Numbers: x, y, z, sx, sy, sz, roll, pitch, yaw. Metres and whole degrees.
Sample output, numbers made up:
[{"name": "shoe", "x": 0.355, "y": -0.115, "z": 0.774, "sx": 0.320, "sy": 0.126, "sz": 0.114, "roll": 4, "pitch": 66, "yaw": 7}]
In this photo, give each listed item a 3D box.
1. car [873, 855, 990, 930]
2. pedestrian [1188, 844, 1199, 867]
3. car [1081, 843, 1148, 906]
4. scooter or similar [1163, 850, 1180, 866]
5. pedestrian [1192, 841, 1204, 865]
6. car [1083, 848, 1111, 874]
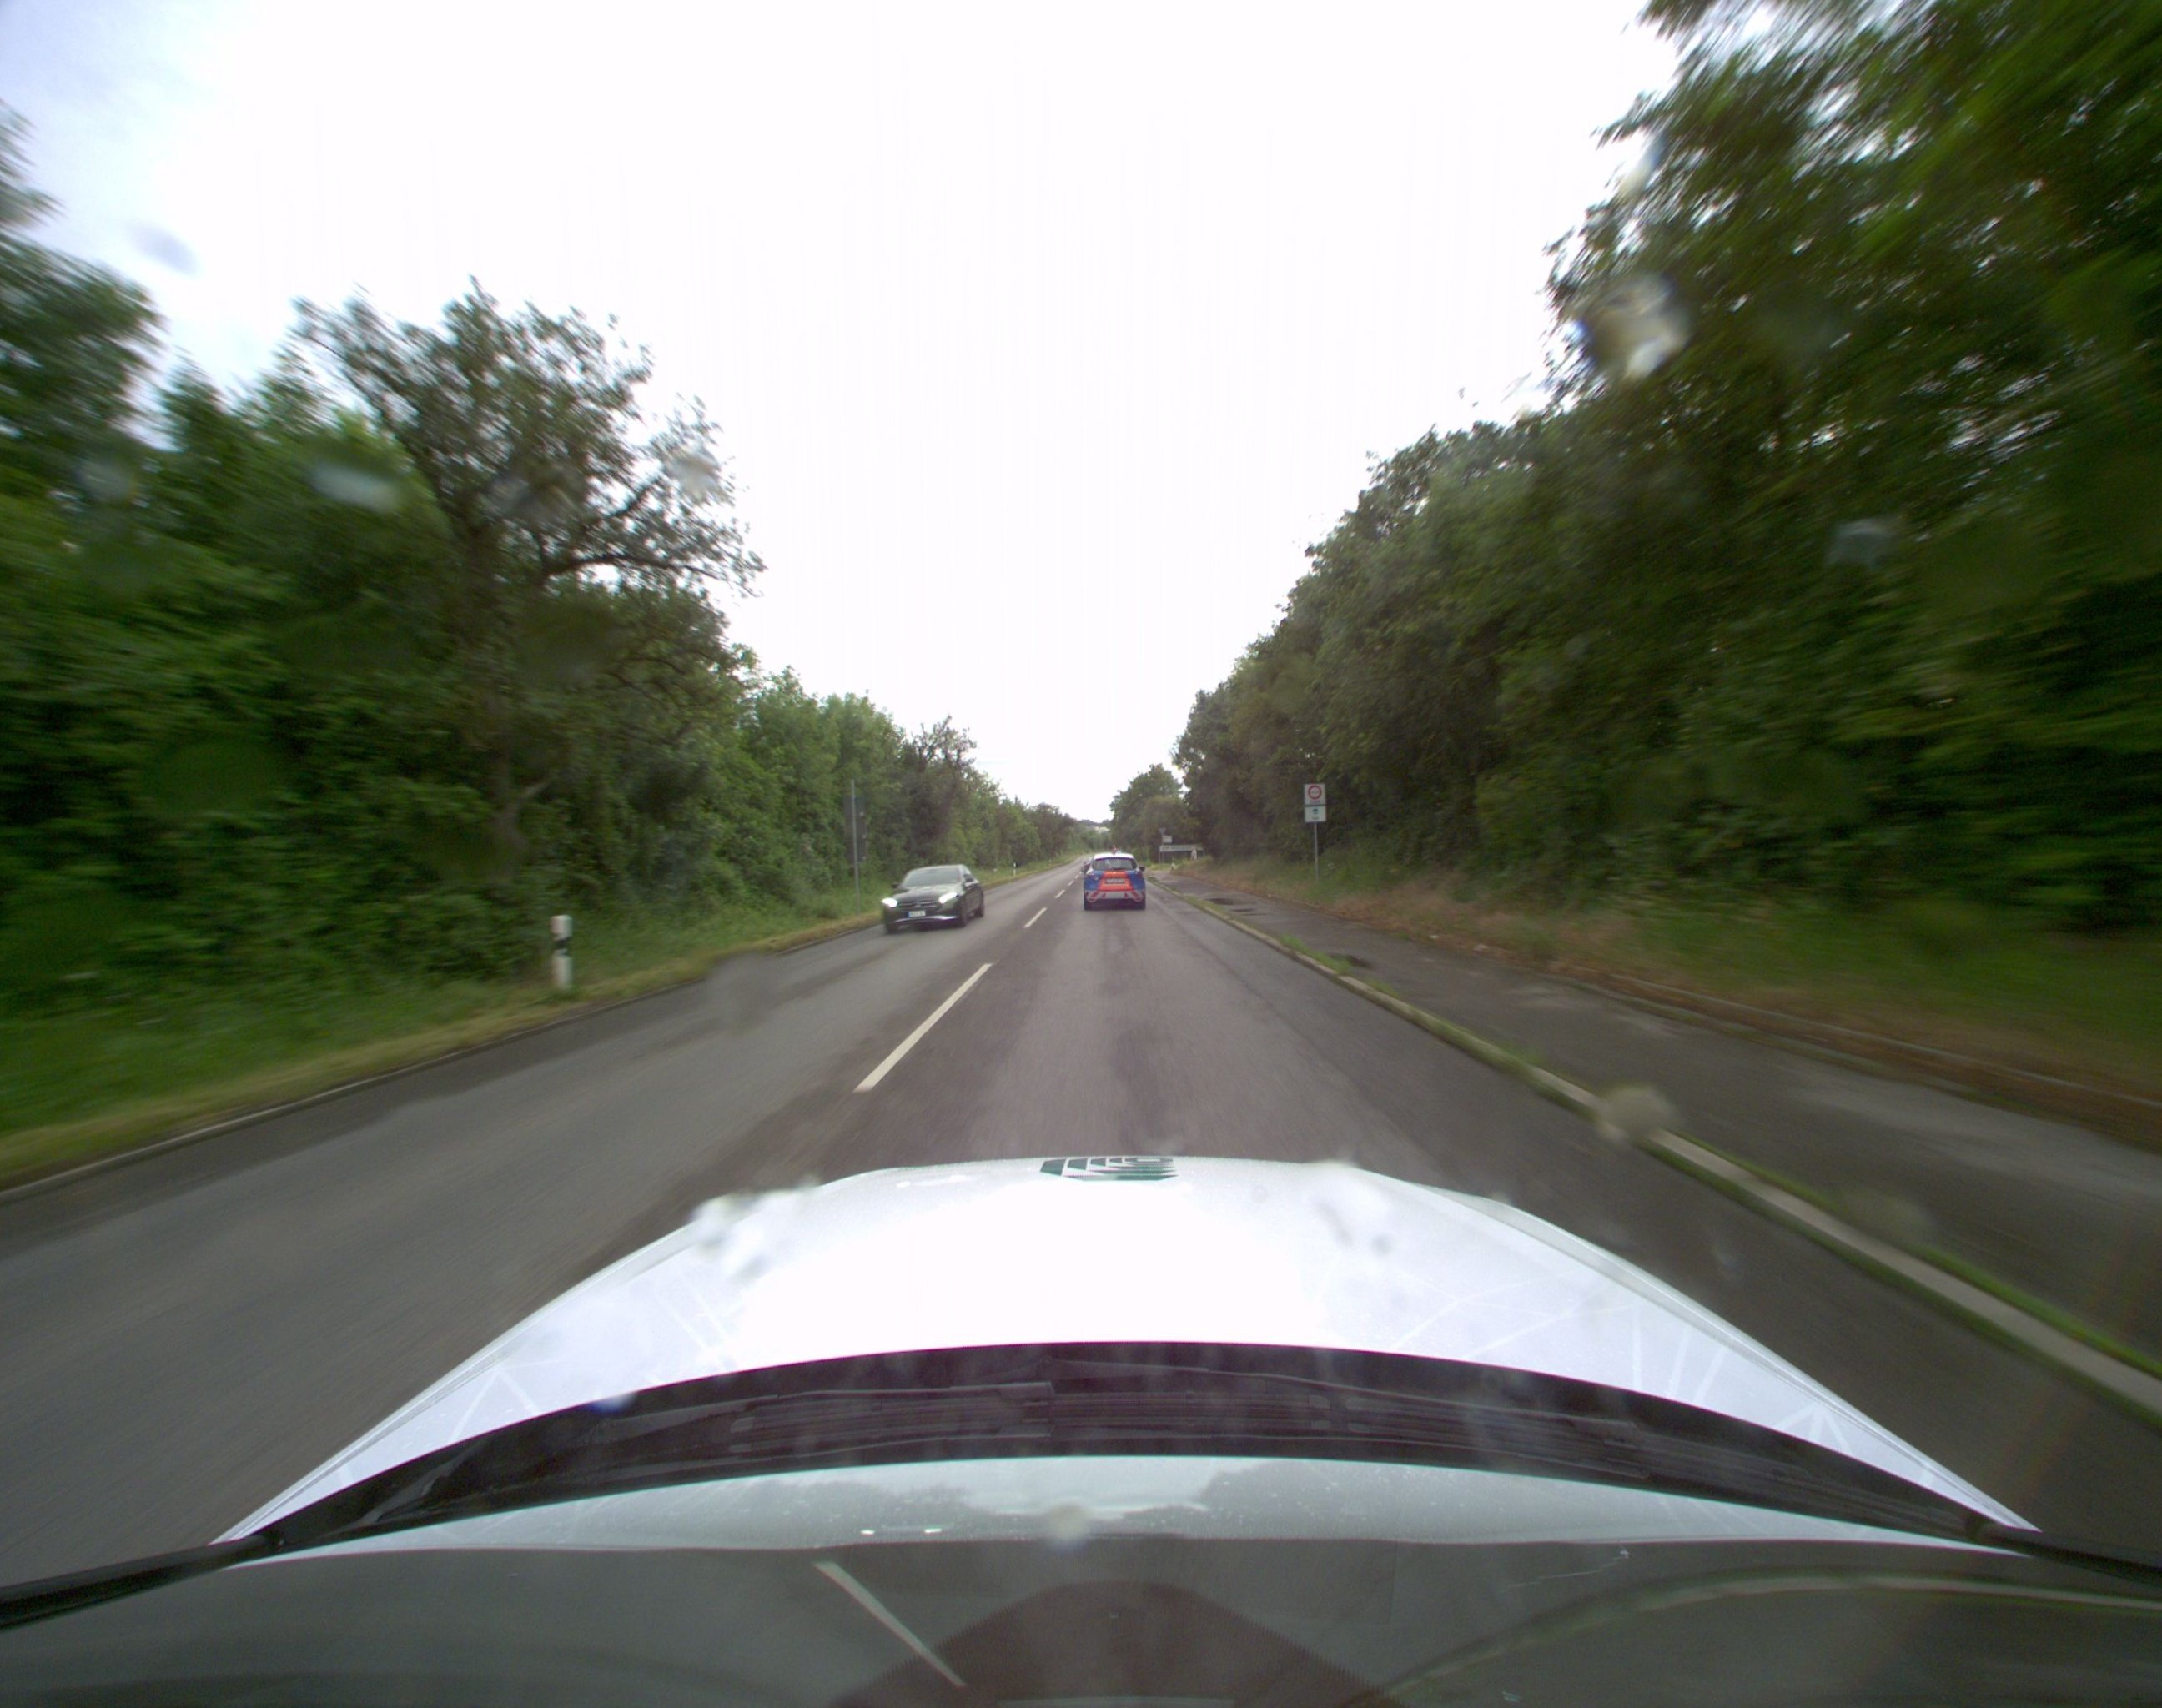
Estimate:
[{"name": "car", "x": -3.549, "y": 0.862, "z": 20.242, "sx": 1.864, "sy": 1.489, "sz": 4.575, "roll": -5, "pitch": 0, "yaw": 1}, {"name": "pedestrian", "x": 8.625, "y": 0.111, "z": 62.387, "sx": 0.658, "sy": 1.778, "sz": 0.760, "roll": -3, "pitch": 0, "yaw": 1}, {"name": "car", "x": 0.933, "y": 0.555, "z": 23.735, "sx": 1.799, "sy": 1.668, "sz": 3.856, "roll": 0, "pitch": 0, "yaw": 1}, {"name": "scooter or similar", "x": 7.319, "y": 0.323, "z": 65.728, "sx": 1.310, "sy": 1.206, "sz": 0.376, "roll": -3, "pitch": -1, "yaw": 42}, {"name": "pedestrian", "x": 9.068, "y": -0.074, "z": 63.193, "sx": 0.690, "sy": 1.827, "sz": 0.801, "roll": -3, "pitch": 0, "yaw": 1}, {"name": "car", "x": 1.009, "y": 0.457, "z": 51.894, "sx": 1.688, "sy": 1.595, "sz": 3.855, "roll": 0, "pitch": 0, "yaw": 0}]
